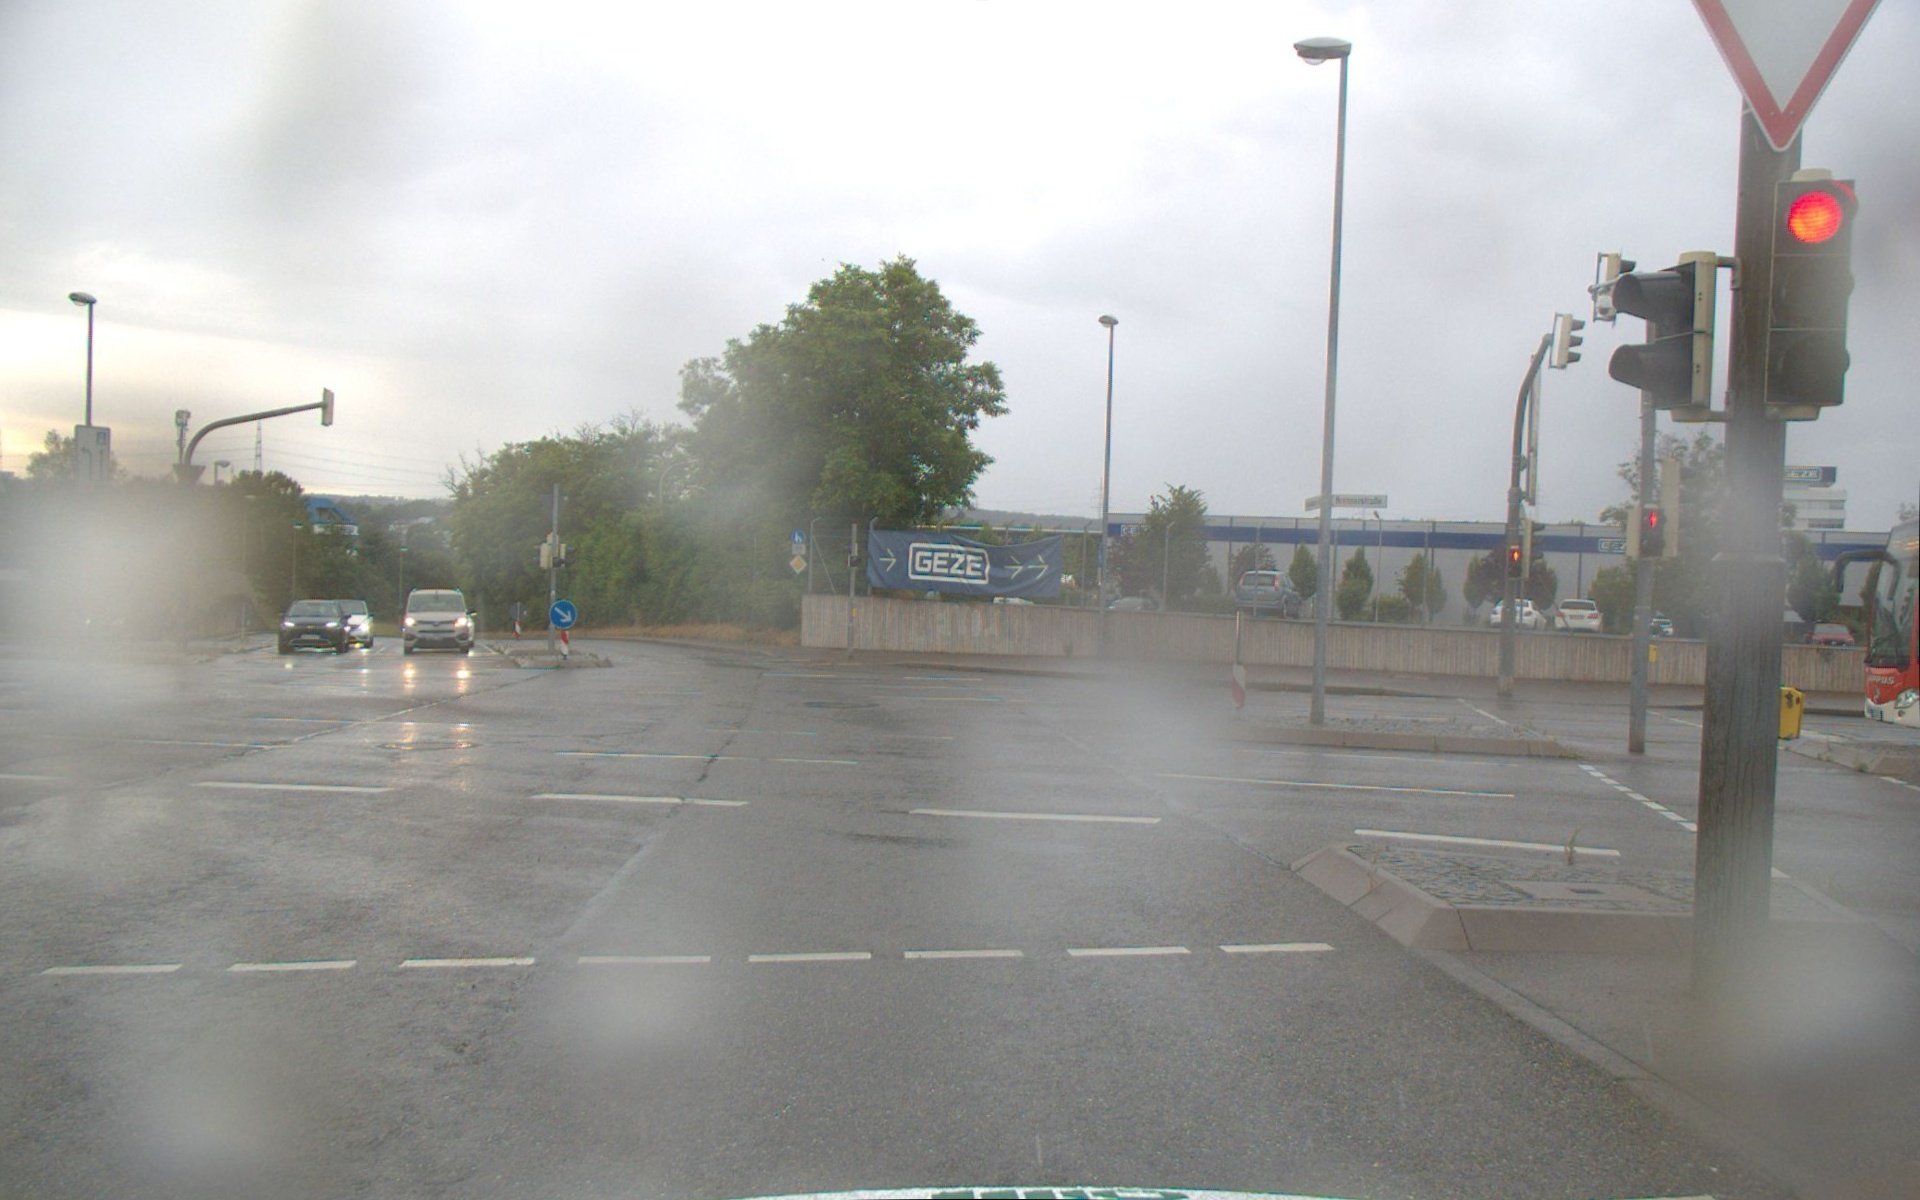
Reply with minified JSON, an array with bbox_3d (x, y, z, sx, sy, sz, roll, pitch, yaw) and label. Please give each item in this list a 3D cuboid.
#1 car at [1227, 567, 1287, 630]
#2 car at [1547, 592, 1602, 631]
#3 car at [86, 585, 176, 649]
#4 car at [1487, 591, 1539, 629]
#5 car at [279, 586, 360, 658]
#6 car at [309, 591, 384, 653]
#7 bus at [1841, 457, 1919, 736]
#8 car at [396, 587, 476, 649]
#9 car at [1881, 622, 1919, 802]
[{"bbox_3d":[10.392,-0.057,57.850,1.951,2.049,4.003,1,0,11],"label":"car"},{"bbox_3d":[25.255,0.464,68.066,1.952,1.504,4.001,2,1,19],"label":"car"},{"bbox_3d":[-26.970,0.529,53.925,1.962,1.928,3.981,1,0,-18],"label":"car"},{"bbox_3d":[22.958,0.395,68.655,1.952,1.504,4.001,2,1,19],"label":"car"},{"bbox_3d":[-18.527,0.604,47.998,1.963,1.928,3.979,1,1,-19],"label":"car"},{"bbox_3d":[-20.378,0.703,55.076,1.961,1.928,3.984,1,0,-16],"label":"car"},{"bbox_3d":[17.662,0.218,19.853,12.020,3.379,3.076,3,1,17],"label":"bus"},{"bbox_3d":[-14.915,0.485,47.285,1.961,1.646,3.984,1,1,-15],"label":"car"},{"bbox_3d":[10.358,1.019,13.511,4.560,1.502,2.002,2,0,15],"label":"car"}]
